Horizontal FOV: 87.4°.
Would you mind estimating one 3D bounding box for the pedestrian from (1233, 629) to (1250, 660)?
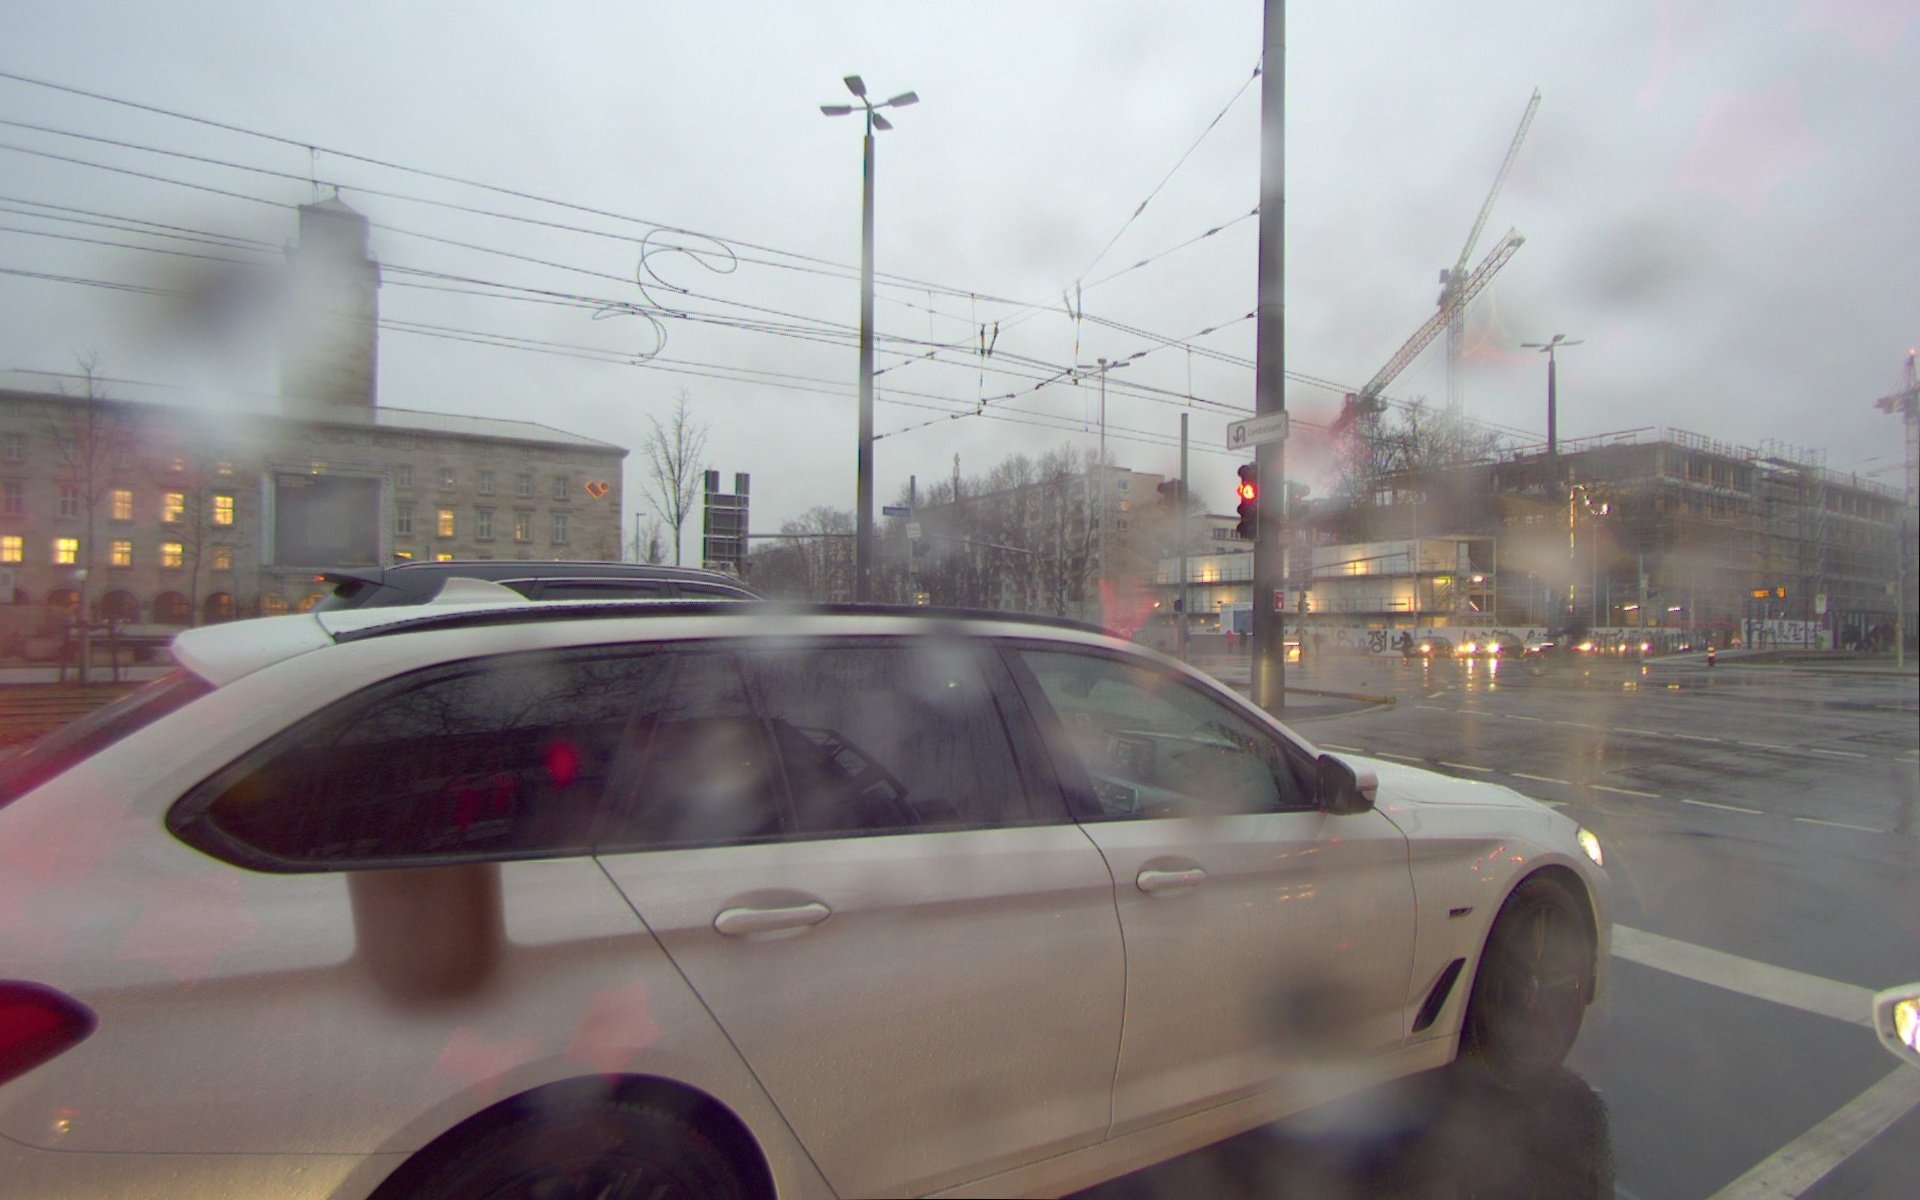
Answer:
[{"bbox_3d":[18.858,2.953,67.317,0.737,2.040,0.783,2,0,-25],"label":"pedestrian"}]

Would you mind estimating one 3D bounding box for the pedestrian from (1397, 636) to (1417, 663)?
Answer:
[{"bbox_3d":[24.175,2.671,54.386,0.710,1.407,0.730,2,0,-2],"label":"pedestrian"}]

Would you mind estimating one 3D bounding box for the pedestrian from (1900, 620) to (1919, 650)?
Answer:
[{"bbox_3d":[65.947,2.419,69.566,1.082,2.040,0.937,2,0,-32],"label":"pedestrian"}]

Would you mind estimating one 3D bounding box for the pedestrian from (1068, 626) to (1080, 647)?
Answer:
[{"bbox_3d":[9.659,3.116,85.405,0.714,1.800,0.789,1,-1,-23],"label":"pedestrian"}]

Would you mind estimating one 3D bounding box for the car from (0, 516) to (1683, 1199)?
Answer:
[{"bbox_3d":[0.010,0.718,3.090,4.508,1.506,2.007,2,-2,-31],"label":"car"}]

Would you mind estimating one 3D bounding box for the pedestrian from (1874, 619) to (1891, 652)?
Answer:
[{"bbox_3d":[57.933,2.216,63.060,0.659,1.994,0.566,2,1,-36],"label":"pedestrian"}]

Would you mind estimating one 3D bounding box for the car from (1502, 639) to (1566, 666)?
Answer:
[{"bbox_3d":[35.868,3.253,62.718,4.577,1.550,2.059,2,-2,-40],"label":"car"}]

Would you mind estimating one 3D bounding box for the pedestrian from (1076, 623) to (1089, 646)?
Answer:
[{"bbox_3d":[10.462,2.970,85.675,0.709,1.927,0.787,1,-1,-31],"label":"pedestrian"}]

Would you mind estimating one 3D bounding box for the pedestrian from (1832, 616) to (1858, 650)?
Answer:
[{"bbox_3d":[55.620,2.074,63.155,1.082,2.040,0.937,2,0,-32],"label":"pedestrian"}]

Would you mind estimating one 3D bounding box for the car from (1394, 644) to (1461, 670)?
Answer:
[{"bbox_3d":[29.612,3.604,63.553,3.953,1.550,1.984,2,-2,-30],"label":"car"}]

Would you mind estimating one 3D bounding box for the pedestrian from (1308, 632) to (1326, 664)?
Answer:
[{"bbox_3d":[24.814,3.319,69.862,0.758,2.194,0.867,2,0,-38],"label":"pedestrian"}]

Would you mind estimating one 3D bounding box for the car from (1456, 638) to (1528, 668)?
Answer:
[{"bbox_3d":[31.310,3.117,59.099,3.953,1.679,1.984,2,-2,-30],"label":"car"}]

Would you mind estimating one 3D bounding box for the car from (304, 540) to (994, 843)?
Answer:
[{"bbox_3d":[-2.075,0.557,7.230,4.238,1.605,1.958,2,-1,-29],"label":"car"}]

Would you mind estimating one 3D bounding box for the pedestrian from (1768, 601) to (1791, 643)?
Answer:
[{"bbox_3d":[47.178,1.274,57.847,0.754,2.354,0.761,3,-1,-30],"label":"pedestrian"}]

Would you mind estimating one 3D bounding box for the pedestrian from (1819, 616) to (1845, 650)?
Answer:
[{"bbox_3d":[54.005,2.021,62.214,1.082,2.040,0.937,2,0,-32],"label":"pedestrian"}]

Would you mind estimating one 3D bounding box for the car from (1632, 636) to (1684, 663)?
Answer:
[{"bbox_3d":[51.398,3.642,73.949,3.963,1.814,1.979,2,0,-37],"label":"car"}]

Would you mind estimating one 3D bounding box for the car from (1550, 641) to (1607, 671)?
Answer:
[{"bbox_3d":[41.049,3.684,66.644,3.963,1.852,1.852,2,0,-37],"label":"car"}]

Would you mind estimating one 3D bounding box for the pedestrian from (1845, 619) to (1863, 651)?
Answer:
[{"bbox_3d":[54.670,2.133,61.423,0.547,1.906,0.695,2,0,-30],"label":"pedestrian"}]

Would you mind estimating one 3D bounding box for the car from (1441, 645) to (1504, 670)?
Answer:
[{"bbox_3d":[34.385,3.850,67.380,3.953,1.550,1.984,2,-2,-30],"label":"car"}]

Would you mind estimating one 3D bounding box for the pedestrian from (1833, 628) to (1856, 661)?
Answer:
[{"bbox_3d":[52.595,2.652,59.712,0.754,1.922,0.761,3,-1,-30],"label":"pedestrian"}]

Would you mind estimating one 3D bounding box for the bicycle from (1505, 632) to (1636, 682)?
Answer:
[{"bbox_3d":[15.695,1.438,25.888,2.816,1.114,0.743,2,0,33],"label":"bicycle"}]

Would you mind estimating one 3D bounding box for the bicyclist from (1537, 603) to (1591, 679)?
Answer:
[{"bbox_3d":[15.607,1.043,25.946,1.140,1.896,0.743,2,0,32],"label":"bicyclist"}]

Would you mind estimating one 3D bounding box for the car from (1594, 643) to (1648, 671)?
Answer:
[{"bbox_3d":[46.732,3.992,71.016,3.963,1.814,1.979,2,0,-37],"label":"car"}]

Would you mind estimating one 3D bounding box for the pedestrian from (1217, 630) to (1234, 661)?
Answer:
[{"bbox_3d":[17.792,3.017,67.301,0.620,2.040,0.856,2,0,-37],"label":"pedestrian"}]
